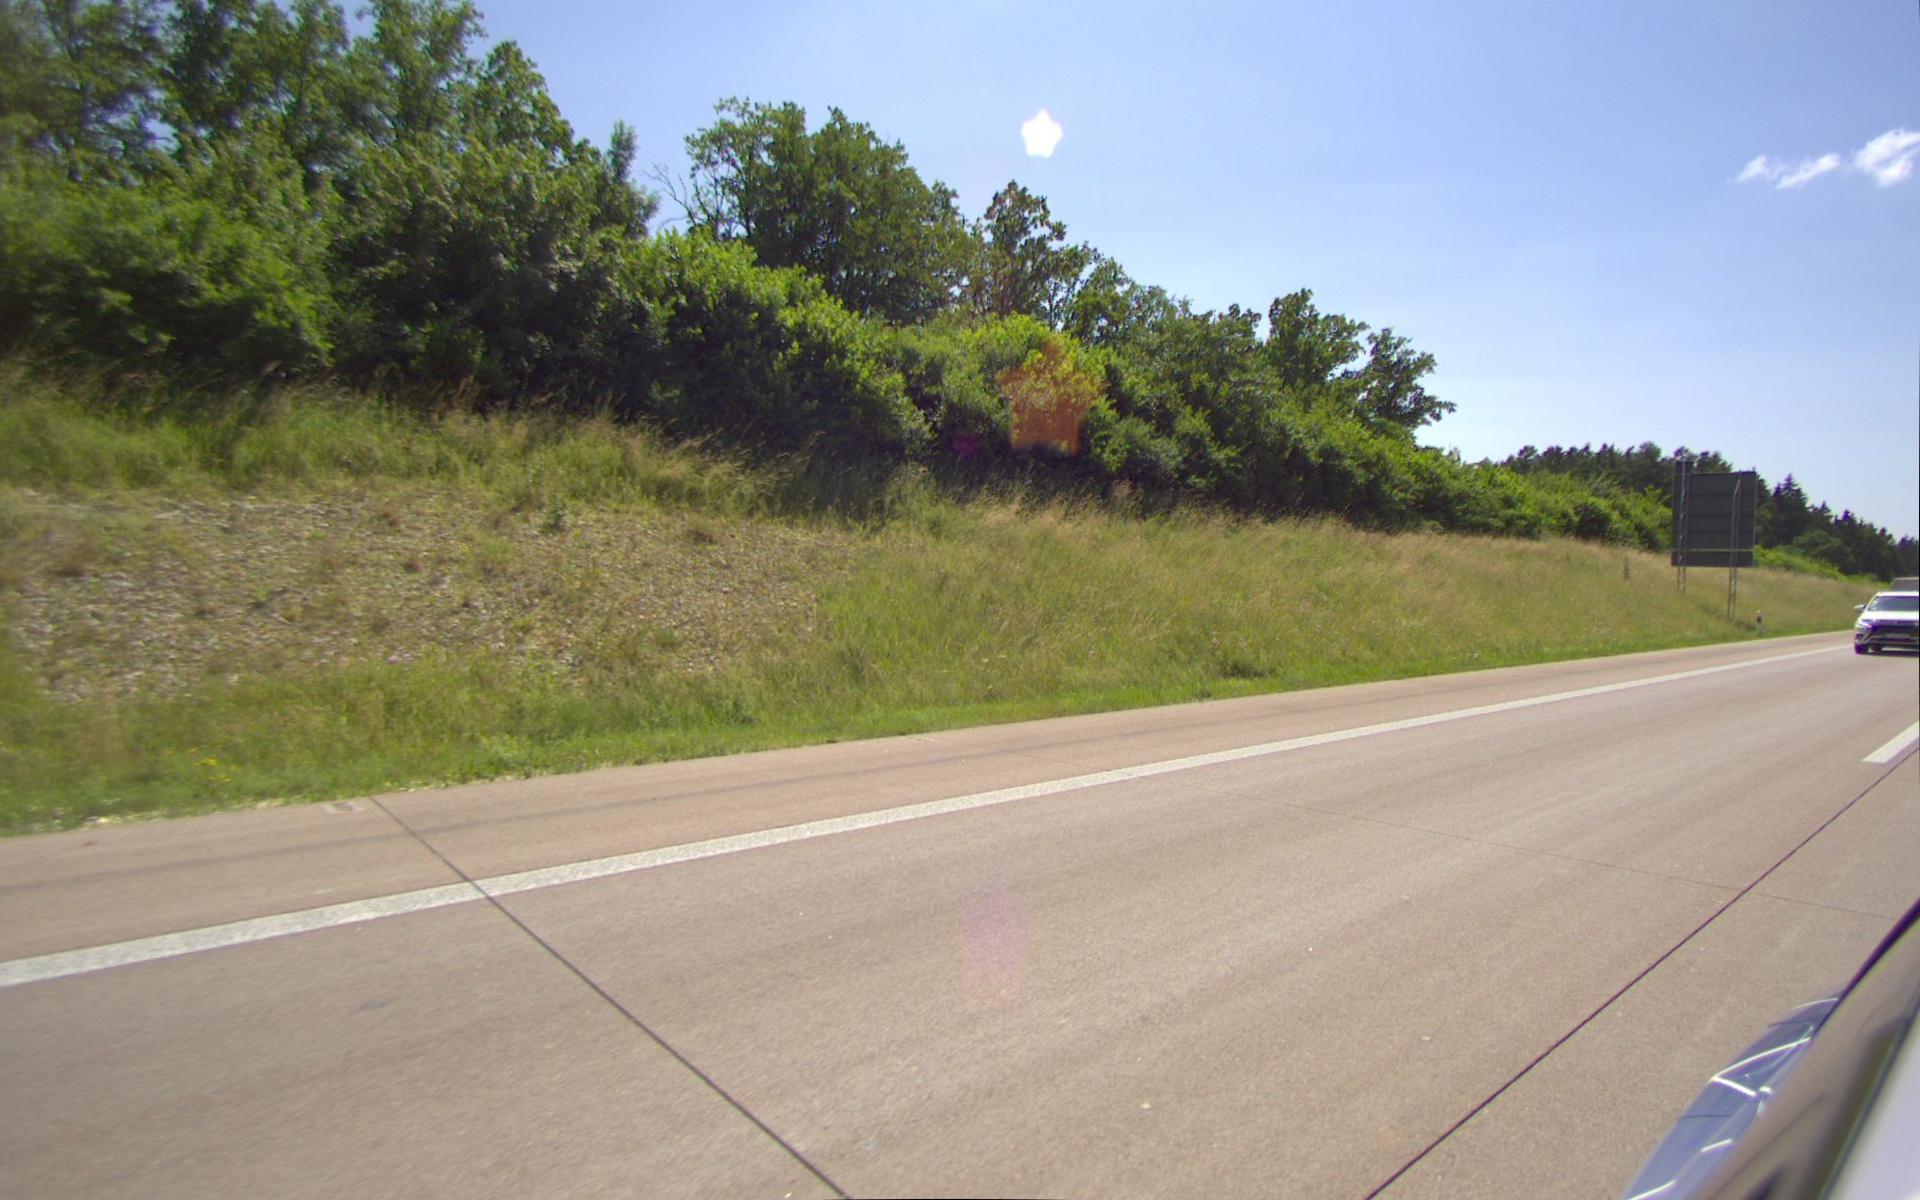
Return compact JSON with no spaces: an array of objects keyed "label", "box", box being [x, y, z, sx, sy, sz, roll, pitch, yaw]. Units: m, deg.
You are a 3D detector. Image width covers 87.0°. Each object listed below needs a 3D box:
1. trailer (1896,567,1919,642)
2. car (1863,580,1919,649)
[{"label":"trailer","box":[29.521,0.136,30.442,3.947,2.191,1.660,0,0,-42]},{"label":"car","box":[26.131,0.355,27.485,5.098,1.750,1.893,0,1,-42]}]
